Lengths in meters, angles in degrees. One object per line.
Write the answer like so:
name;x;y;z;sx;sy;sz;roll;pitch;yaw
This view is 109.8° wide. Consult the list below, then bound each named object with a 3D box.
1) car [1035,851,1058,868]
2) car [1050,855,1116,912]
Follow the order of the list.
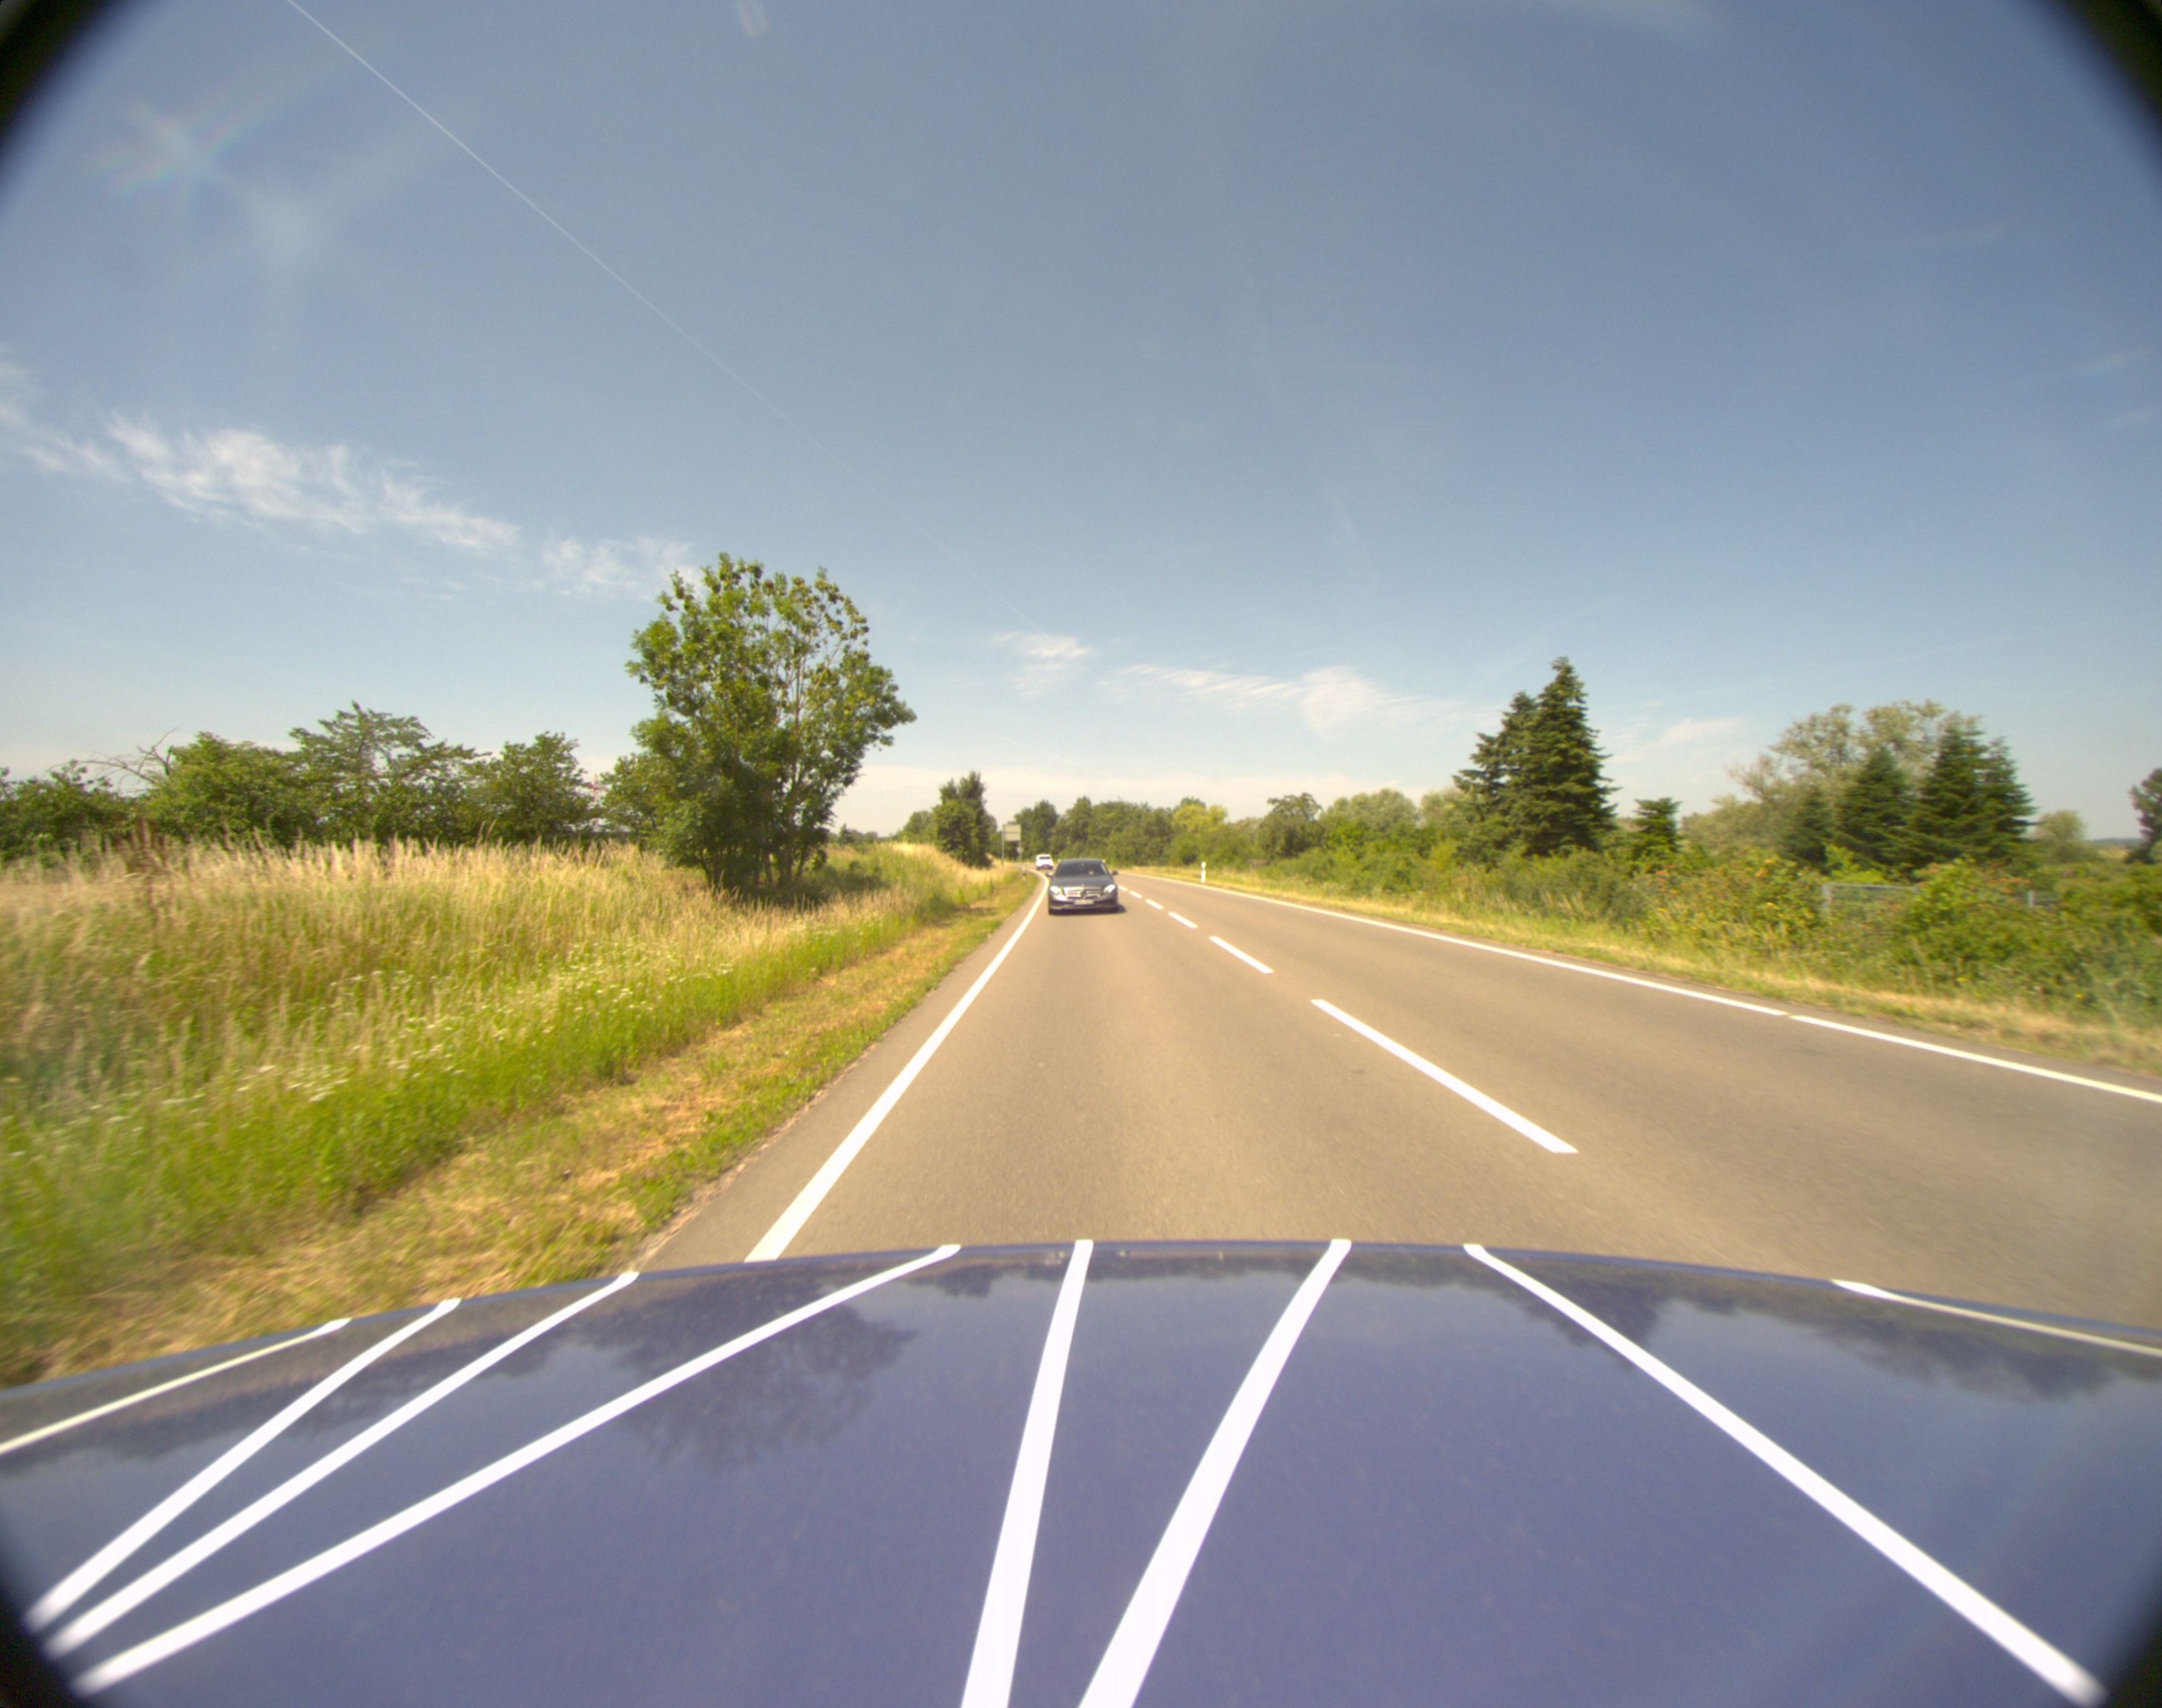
car;-4.353;0.720;95.171;2.181;2.002;5.021;-3;0;-10
car;0.130;0.844;23.589;1.831;1.540;4.499;-1;0;2
